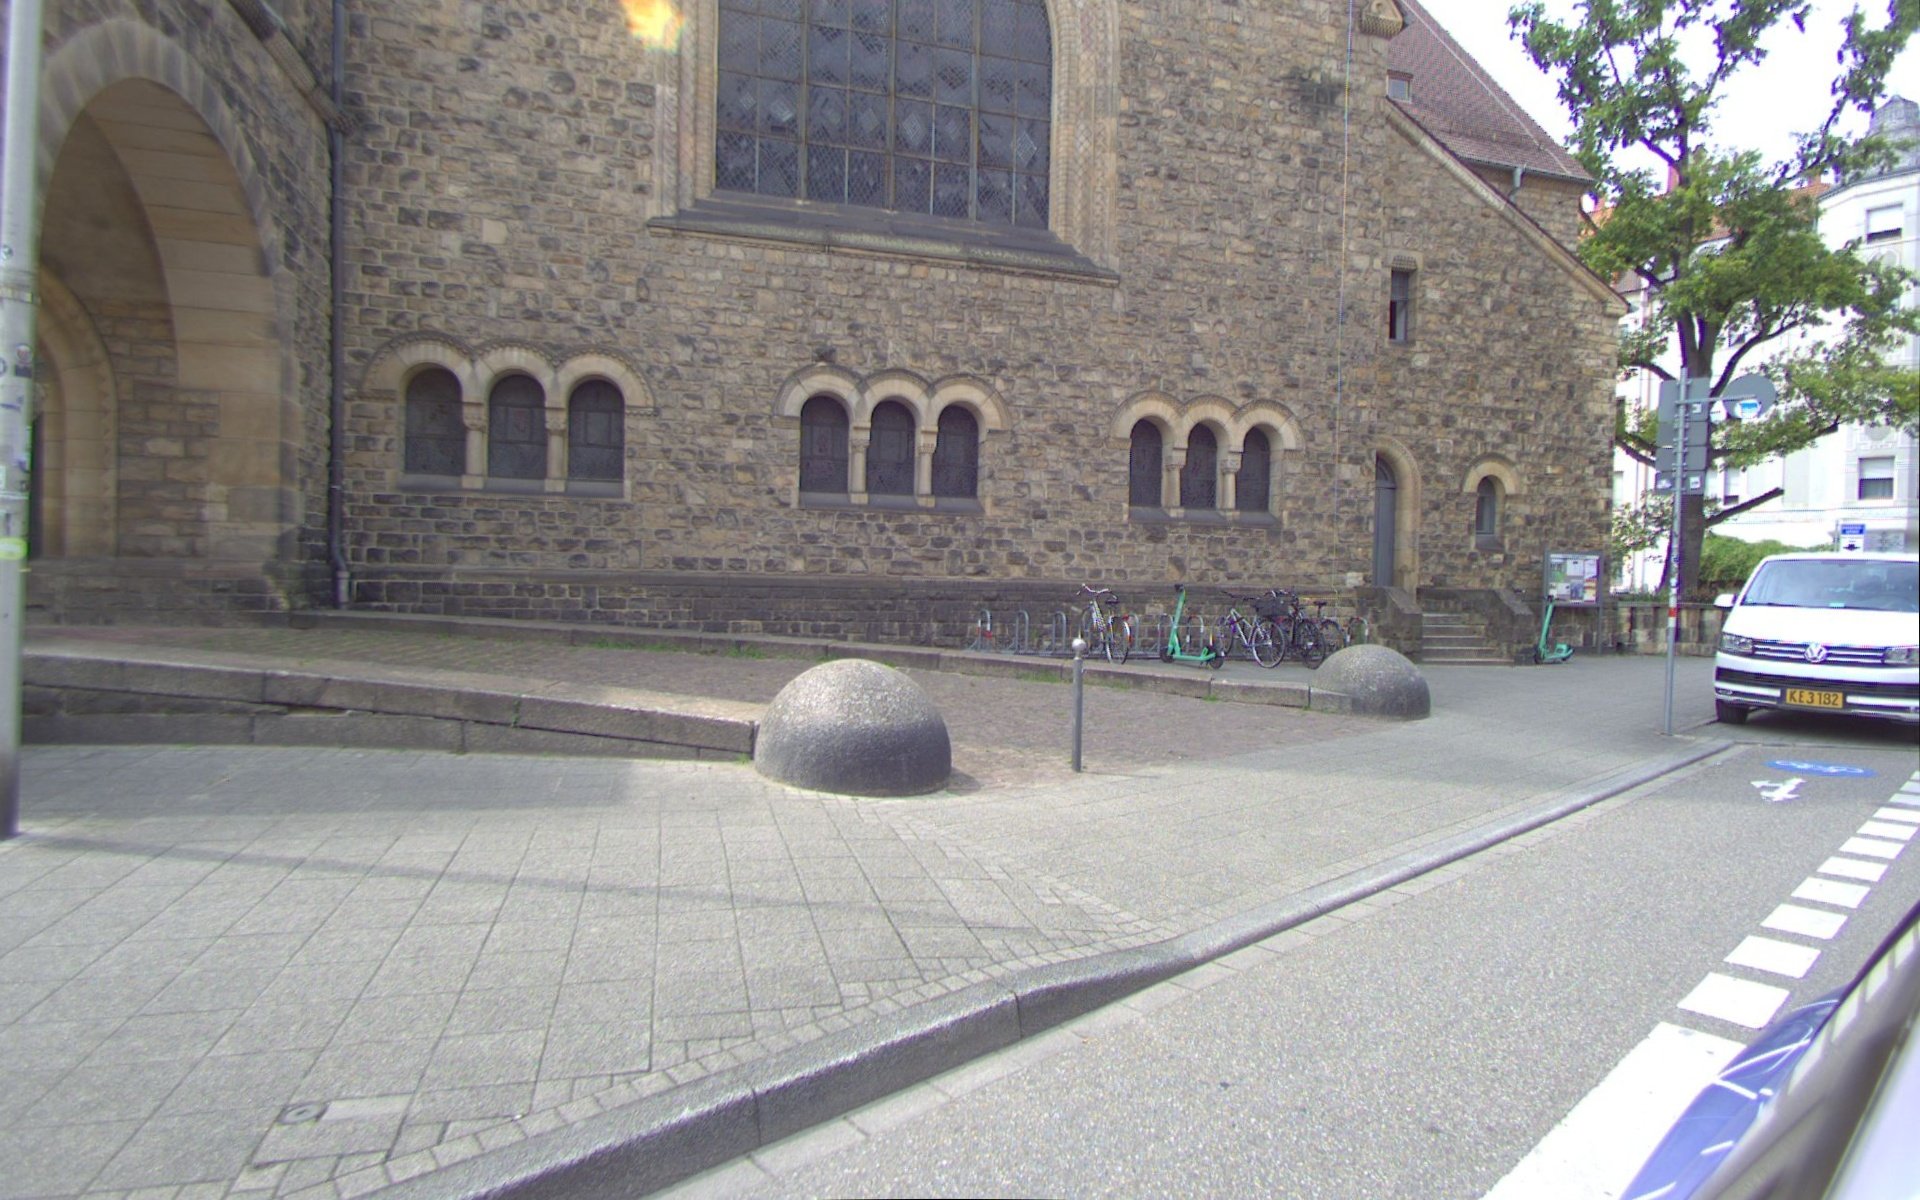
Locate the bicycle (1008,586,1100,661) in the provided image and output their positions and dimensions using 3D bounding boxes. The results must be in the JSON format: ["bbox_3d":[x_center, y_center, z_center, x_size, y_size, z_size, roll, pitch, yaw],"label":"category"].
[{"bbox_3d":[1.303,0.307,14.399,0.534,0.969,1.786,1,1,-21],"label":"bicycle"}]

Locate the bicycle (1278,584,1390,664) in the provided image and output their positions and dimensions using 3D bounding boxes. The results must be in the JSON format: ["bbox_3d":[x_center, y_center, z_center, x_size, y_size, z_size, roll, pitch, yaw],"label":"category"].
[{"bbox_3d":[5.743,0.347,15.645,0.534,1.125,1.786,1,1,-21],"label":"bicycle"}]

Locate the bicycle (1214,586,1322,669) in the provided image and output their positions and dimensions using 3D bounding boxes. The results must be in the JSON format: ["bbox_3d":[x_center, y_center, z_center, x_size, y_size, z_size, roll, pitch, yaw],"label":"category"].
[{"bbox_3d":[4.583,0.384,15.201,0.534,1.125,1.786,1,1,-21],"label":"bicycle"}]

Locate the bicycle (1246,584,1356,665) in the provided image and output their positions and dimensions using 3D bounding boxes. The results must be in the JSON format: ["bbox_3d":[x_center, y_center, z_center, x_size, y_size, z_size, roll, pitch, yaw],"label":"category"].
[{"bbox_3d":[5.155,0.338,15.399,0.534,1.125,1.779,1,1,-21],"label":"bicycle"}]

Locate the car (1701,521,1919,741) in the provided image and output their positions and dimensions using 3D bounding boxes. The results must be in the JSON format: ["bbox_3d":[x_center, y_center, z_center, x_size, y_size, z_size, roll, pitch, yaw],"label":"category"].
[{"bbox_3d":[10.433,0.264,11.649,5.035,2.054,2.018,0,3,-42],"label":"car"}]

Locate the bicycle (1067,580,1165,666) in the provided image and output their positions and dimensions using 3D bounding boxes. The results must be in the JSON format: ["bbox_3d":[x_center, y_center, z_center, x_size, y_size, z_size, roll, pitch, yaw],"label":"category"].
[{"bbox_3d":[2.217,0.299,14.612,0.534,1.125,1.786,1,1,-21],"label":"bicycle"}]

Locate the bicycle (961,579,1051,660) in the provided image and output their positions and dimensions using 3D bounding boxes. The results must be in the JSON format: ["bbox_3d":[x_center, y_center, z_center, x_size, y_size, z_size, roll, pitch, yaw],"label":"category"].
[{"bbox_3d":[0.612,0.244,14.186,0.534,0.969,1.787,1,3,-21],"label":"bicycle"}]

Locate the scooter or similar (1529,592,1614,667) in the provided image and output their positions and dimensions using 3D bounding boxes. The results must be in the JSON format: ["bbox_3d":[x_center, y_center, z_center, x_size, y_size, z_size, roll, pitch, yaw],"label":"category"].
[{"bbox_3d":[10.434,0.491,17.274,1.413,1.222,0.547,1,1,-27],"label":"scooter or similar"}]

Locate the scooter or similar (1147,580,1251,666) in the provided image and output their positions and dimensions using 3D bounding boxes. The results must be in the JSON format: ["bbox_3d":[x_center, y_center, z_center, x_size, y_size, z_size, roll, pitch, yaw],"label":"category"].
[{"bbox_3d":[3.463,0.301,14.851,0.534,1.154,1.786,1,1,-21],"label":"scooter or similar"}]

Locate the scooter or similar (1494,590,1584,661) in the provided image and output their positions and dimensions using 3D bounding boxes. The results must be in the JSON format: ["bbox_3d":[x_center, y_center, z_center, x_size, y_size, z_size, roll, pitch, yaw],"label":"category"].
[{"bbox_3d":[10.262,0.450,17.936,1.450,1.222,0.547,1,1,-21],"label":"scooter or similar"}]
